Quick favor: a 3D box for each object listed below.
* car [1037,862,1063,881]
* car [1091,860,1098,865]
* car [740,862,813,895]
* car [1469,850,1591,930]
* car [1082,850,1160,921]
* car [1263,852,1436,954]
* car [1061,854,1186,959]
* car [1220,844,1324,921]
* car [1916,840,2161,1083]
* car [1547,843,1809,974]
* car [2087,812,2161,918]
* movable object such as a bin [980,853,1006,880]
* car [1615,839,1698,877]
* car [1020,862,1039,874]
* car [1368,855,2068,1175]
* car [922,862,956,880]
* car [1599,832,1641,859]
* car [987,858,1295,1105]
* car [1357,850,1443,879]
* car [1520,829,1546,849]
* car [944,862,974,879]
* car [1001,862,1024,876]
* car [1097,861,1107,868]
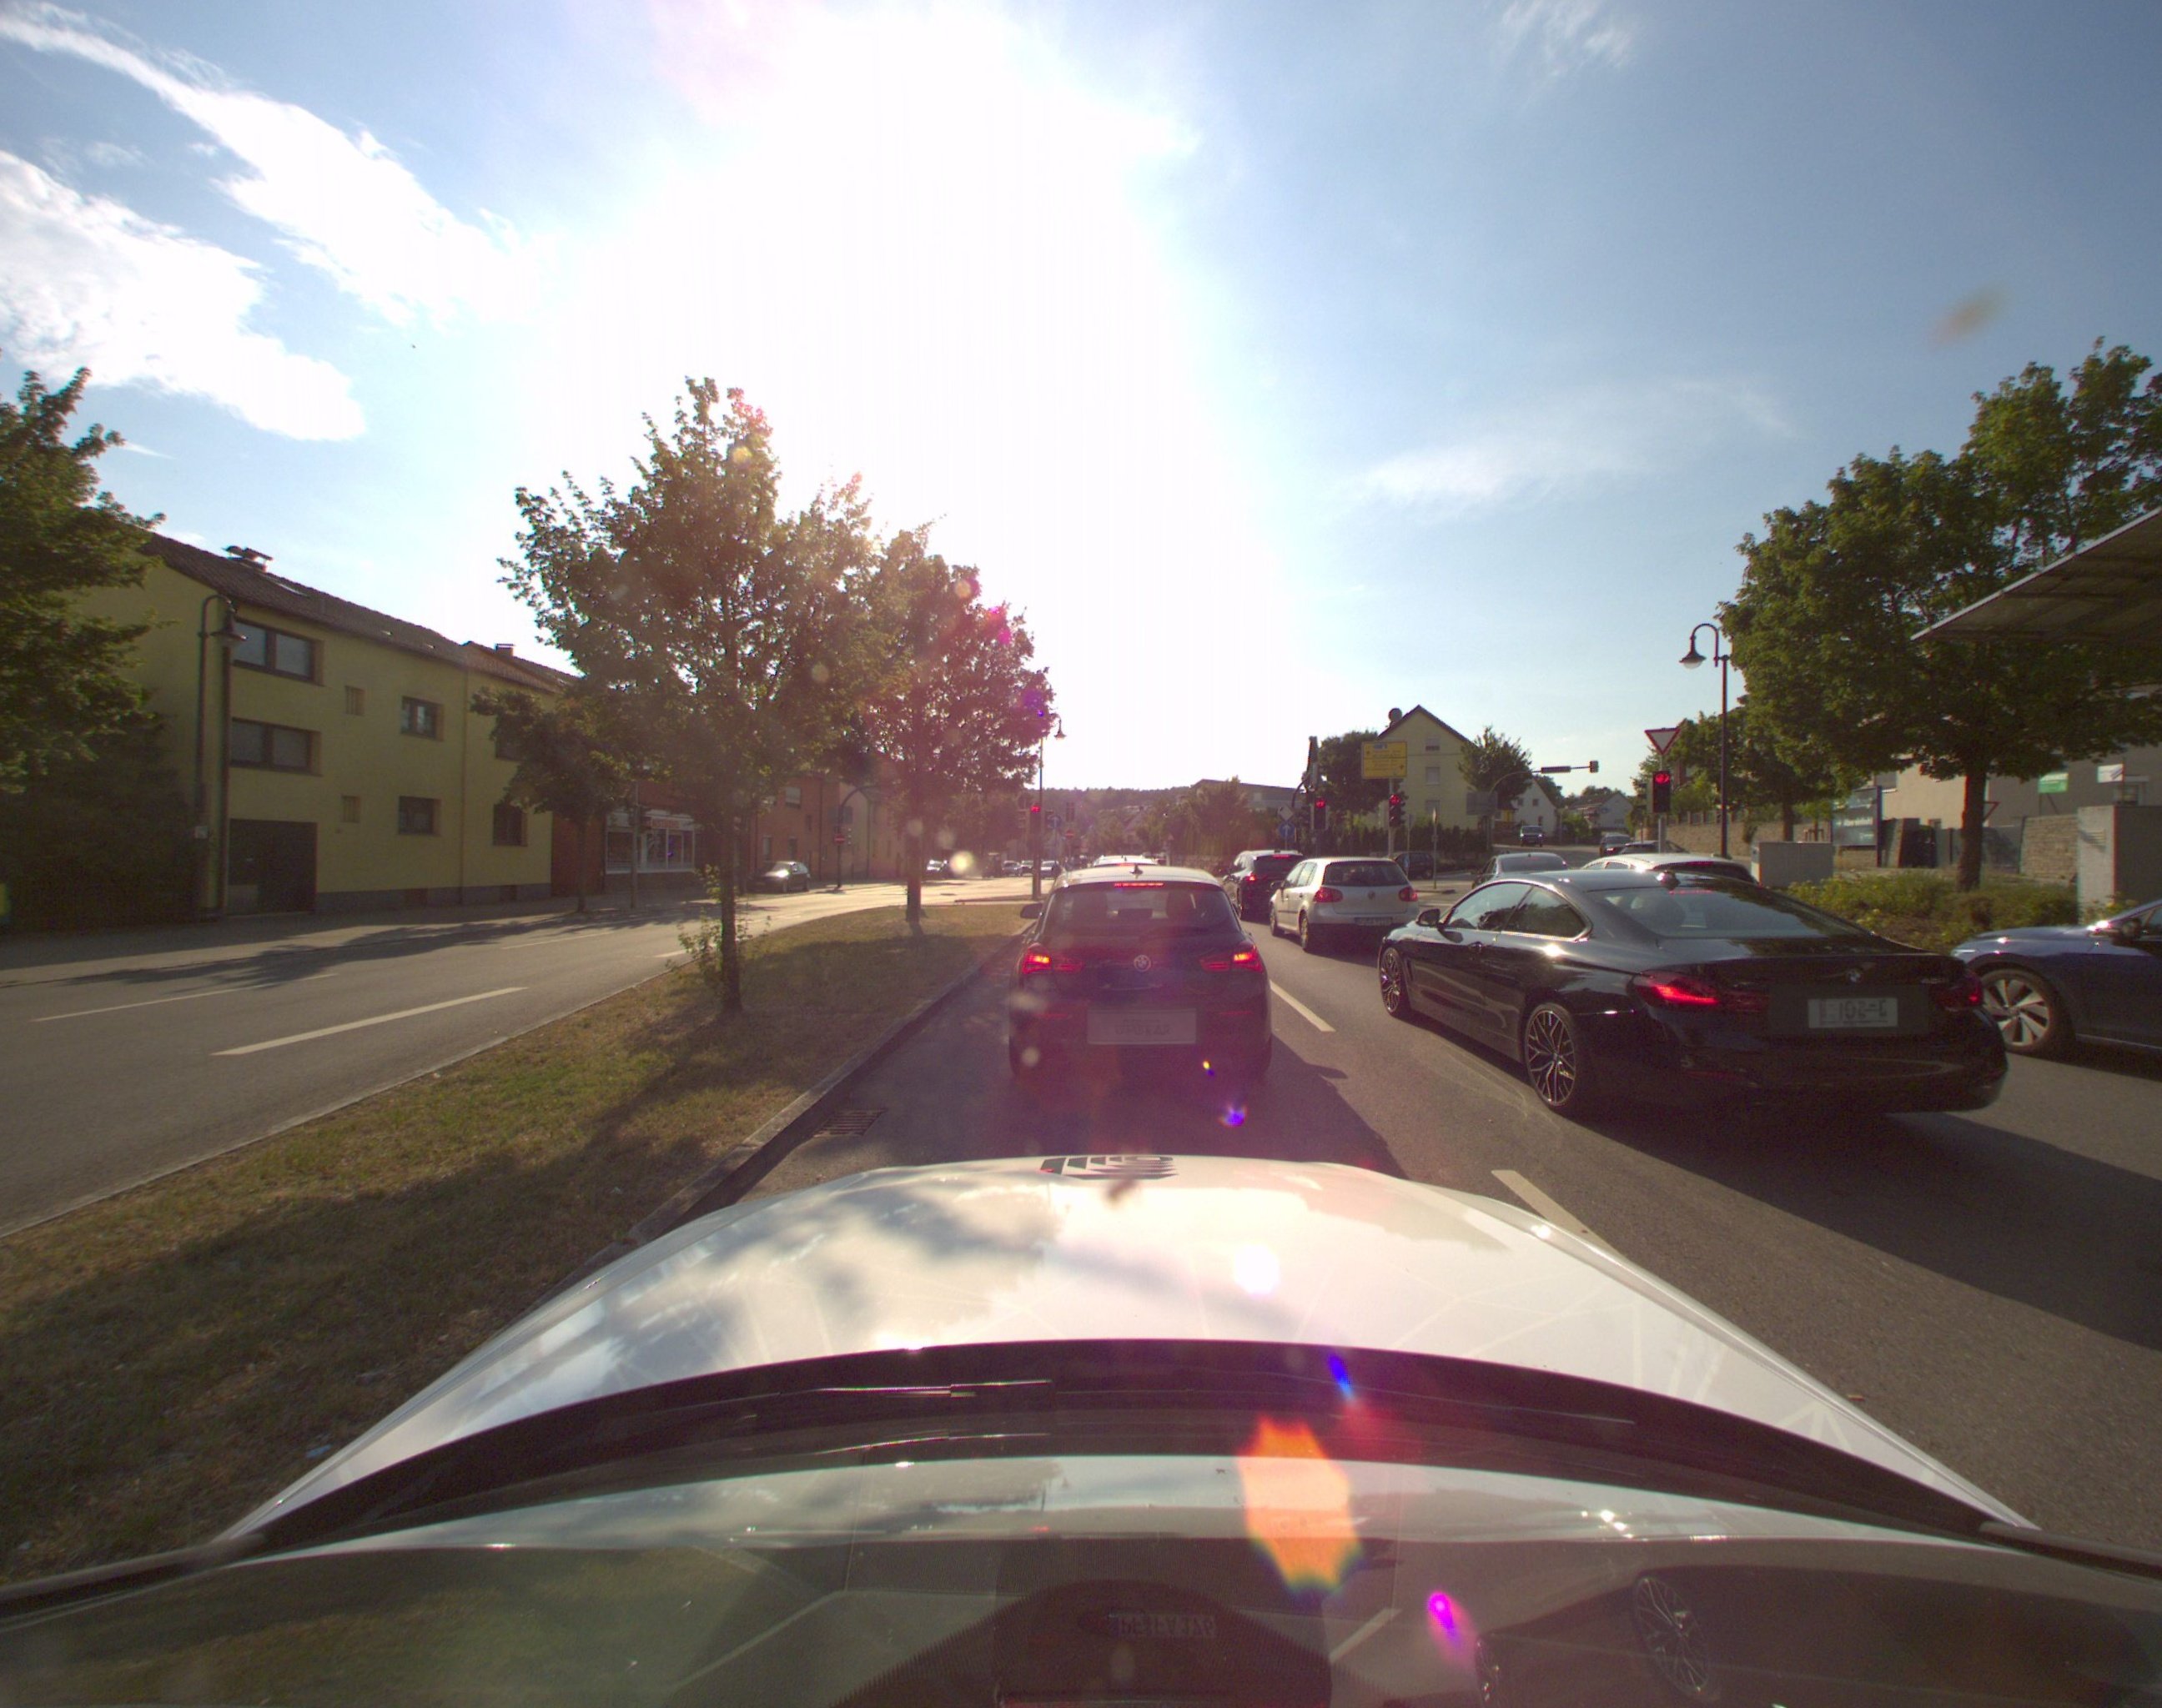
[{"bbox_3d":[-2.507,1.440,67.115,1.832,1.482,4.002,-1,0,2],"label":"car"},{"bbox_3d":[3.887,2.404,237.236,1.729,1.301,3.804,4,0,5],"label":"car"},{"bbox_3d":[-14.133,1.110,38.032,1.730,1.301,4.002,4,0,2],"label":"car"},{"bbox_3d":[9.886,0.709,18.237,1.642,1.542,4.420,-2,0,19],"label":"car"},{"bbox_3d":[1.025,0.736,21.150,1.781,1.594,4.283,-2,0,2],"label":"car"},{"bbox_3d":[4.326,0.711,13.762,1.755,1.426,3.905,-2,0,2],"label":"car"},{"bbox_3d":[0.723,0.775,14.111,1.781,1.494,4.283,-2,0,2],"label":"car"},{"bbox_3d":[4.573,0.645,20.044,1.755,1.656,3.905,-2,0,2],"label":"car"},{"bbox_3d":[7.434,0.646,4.303,1.754,1.453,4.322,-2,0,3],"label":"car"},{"bbox_3d":[8.115,0.666,11.464,1.608,1.542,3.326,-2,0,9],"label":"car"},{"bbox_3d":[18.498,0.153,12.384,3.793,1.632,1.784,0,0,10],"label":"car"},{"bbox_3d":[-8.259,1.151,77.067,1.729,2.442,4.452,-1,0,3],"label":"movable object such as a bin"},{"bbox_3d":[27.215,0.164,38.453,4.234,1.680,1.949,-1,0,-37],"label":"car"},{"bbox_3d":[-6.336,1.681,100.335,1.729,1.301,3.804,4,0,5],"label":"car"},{"bbox_3d":[3.624,0.734,5.822,1.755,1.397,4.283,-2,0,2],"label":"car"},{"bbox_3d":[-11.738,1.422,67.594,1.728,1.301,4.006,4,0,6],"label":"car"},{"bbox_3d":[35.136,-0.535,53.174,1.825,1.641,4.457,0,0,27],"label":"car"},{"bbox_3d":[0.446,0.767,6.967,1.781,1.397,4.283,-2,0,2],"label":"car"},{"bbox_3d":[17.351,0.567,44.359,3.974,1.489,1.848,0,0,-1],"label":"car"},{"bbox_3d":[42.377,-1.371,76.423,1.825,1.739,4.812,0,0,26],"label":"car"},{"bbox_3d":[-11.049,1.467,73.764,1.729,1.301,4.005,4,0,5],"label":"car"},{"bbox_3d":[-7.387,1.584,87.733,1.729,1.301,3.804,4,0,5],"label":"car"},{"bbox_3d":[4.609,2.246,177.691,1.729,1.301,3.804,4,0,5],"label":"car"}]
